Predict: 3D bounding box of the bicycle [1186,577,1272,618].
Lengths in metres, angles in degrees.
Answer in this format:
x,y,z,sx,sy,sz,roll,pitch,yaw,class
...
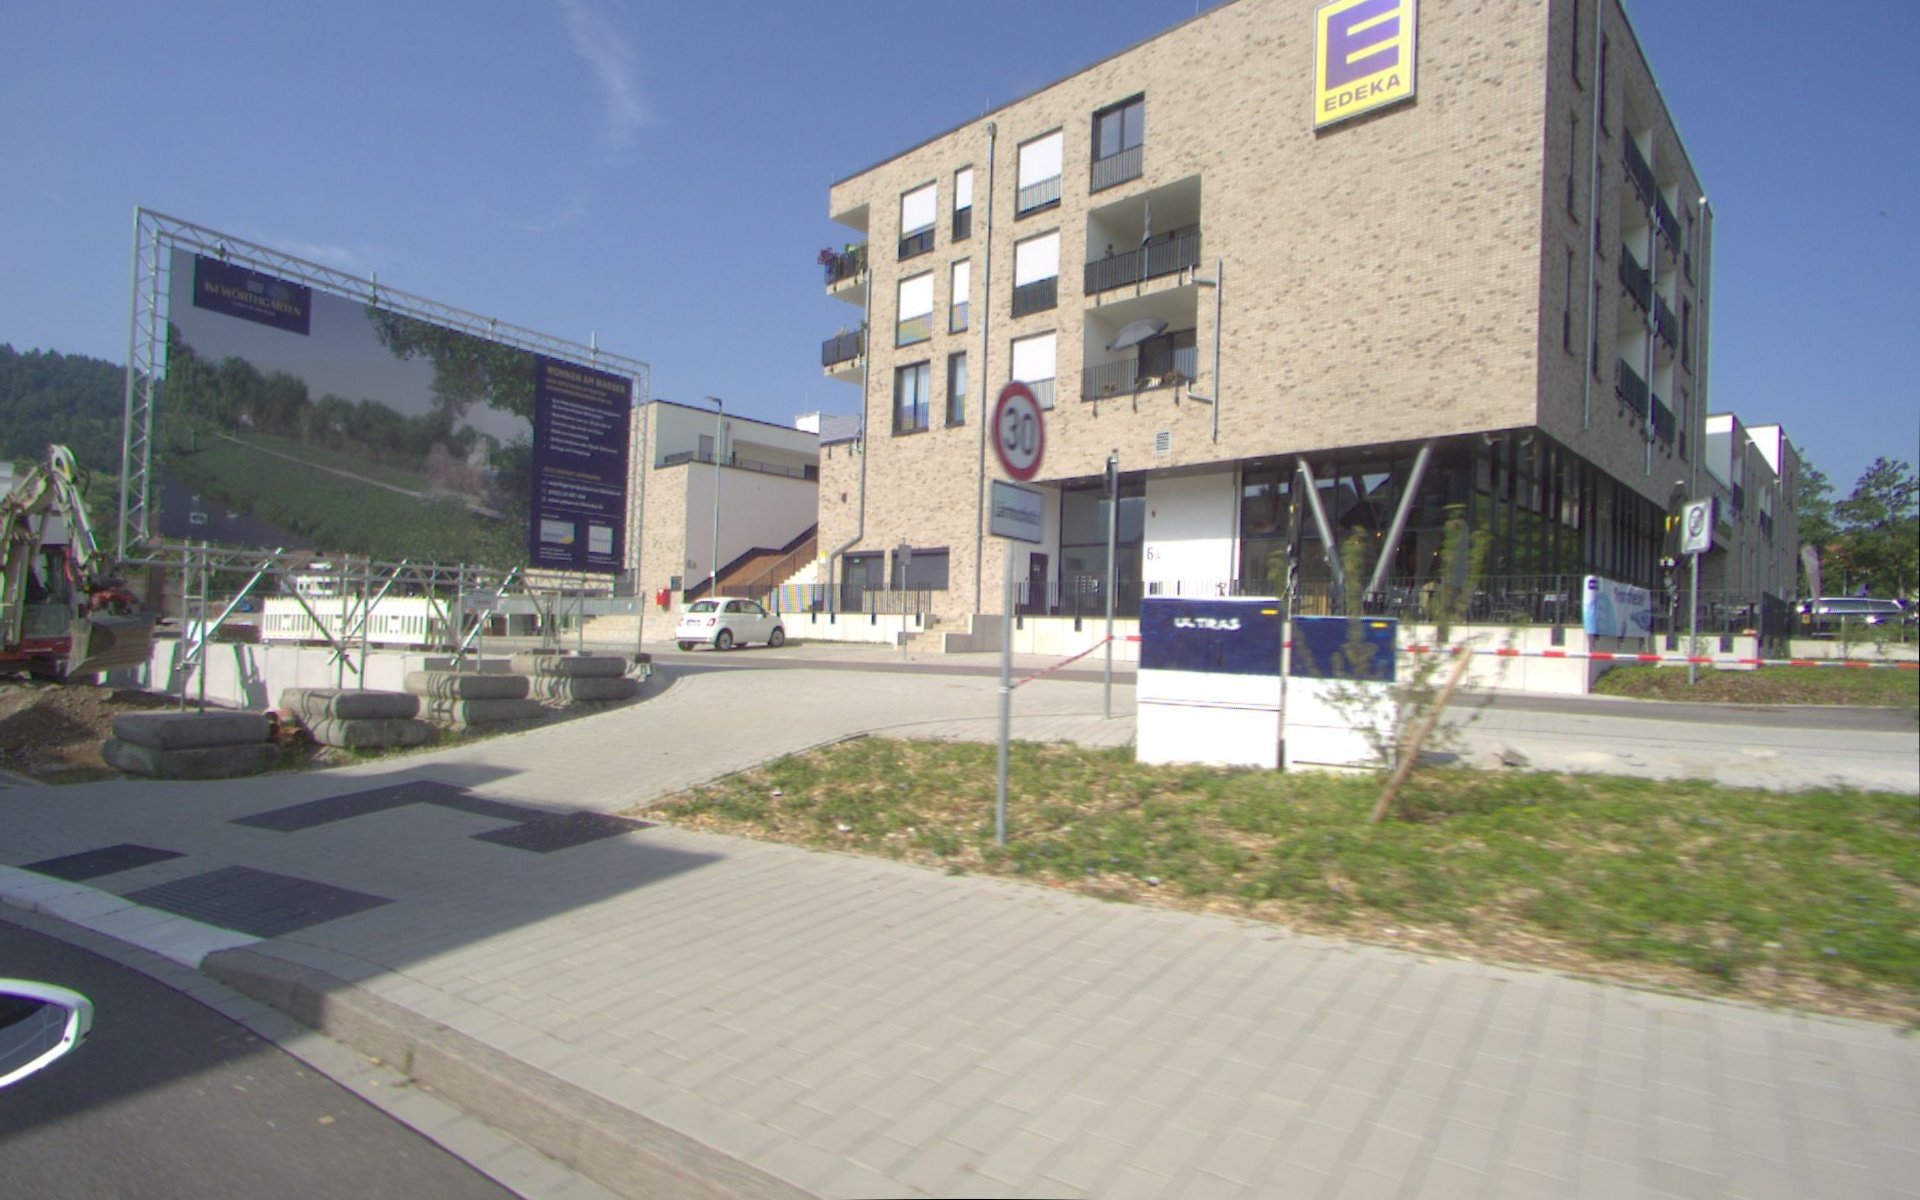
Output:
x,y,z,sx,sy,sz,roll,pitch,yaw,class
7.491,-0.080,27.966,2.221,1.057,0.688,1,-4,44,bicycle

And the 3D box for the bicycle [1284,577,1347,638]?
x,y,z,sx,sy,sz,roll,pitch,yaw,class
8.025,0.191,22.536,0.844,1.158,2.236,2,-4,32,bicycle

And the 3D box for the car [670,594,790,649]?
x,y,z,sx,sy,sz,roll,pitch,yaw,class
-6.650,0.657,29.246,1.570,1.514,3.402,-1,-2,29,car

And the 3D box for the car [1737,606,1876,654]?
x,y,z,sx,sy,sz,roll,pitch,yaw,class
27.455,0.969,32.534,1.478,1.367,3.300,7,-4,-43,car

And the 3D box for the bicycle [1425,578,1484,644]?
x,y,z,sx,sy,sz,roll,pitch,yaw,class
10.155,0.249,20.517,0.844,1.158,2.236,2,-4,32,bicycle

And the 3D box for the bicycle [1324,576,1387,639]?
x,y,z,sx,sy,sz,roll,pitch,yaw,class
8.638,0.185,21.819,0.844,1.158,2.236,2,-4,32,bicycle

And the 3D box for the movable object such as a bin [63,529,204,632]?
x,y,z,sx,sy,sz,roll,pitch,yaw,class
-33.560,-0.641,40.952,2.816,3.665,5.715,5,-3,-25,movable object such as a bin

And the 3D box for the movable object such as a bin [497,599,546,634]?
x,y,z,sx,sy,sz,roll,pitch,yaw,class
-20.430,0.758,46.670,1.304,1.482,1.575,1,-4,40,movable object such as a bin

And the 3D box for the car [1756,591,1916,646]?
x,y,z,sx,sy,sz,roll,pitch,yaw,class
24.703,0.517,28.381,3.291,1.367,1.482,1,-4,39,car

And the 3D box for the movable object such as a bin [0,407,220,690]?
x,y,z,sx,sy,sz,roll,pitch,yaw,class
-15.603,-0.644,16.930,7.690,3.900,2.292,0,-4,34,movable object such as a bin

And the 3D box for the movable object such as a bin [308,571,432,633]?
x,y,z,sx,sy,sz,roll,pitch,yaw,class
-26.035,0.131,44.235,4.569,2.603,1.912,1,-1,-35,movable object such as a bin

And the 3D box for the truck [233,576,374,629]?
x,y,z,sx,sy,sz,roll,pitch,yaw,class
-29.877,0.172,45.734,5.264,2.295,2.204,1,-1,-35,truck

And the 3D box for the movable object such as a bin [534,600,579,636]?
x,y,z,sx,sy,sz,roll,pitch,yaw,class
-17.968,0.806,44.616,1.304,1.482,1.295,1,-4,40,movable object such as a bin

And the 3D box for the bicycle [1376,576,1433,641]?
x,y,z,sx,sy,sz,roll,pitch,yaw,class
9.326,0.204,20.969,0.755,1.158,2.236,2,-4,32,bicycle

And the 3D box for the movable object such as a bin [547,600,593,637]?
x,y,z,sx,sy,sz,roll,pitch,yaw,class
-16.996,0.816,43.663,1.304,1.482,1.295,1,-4,40,movable object such as a bin
